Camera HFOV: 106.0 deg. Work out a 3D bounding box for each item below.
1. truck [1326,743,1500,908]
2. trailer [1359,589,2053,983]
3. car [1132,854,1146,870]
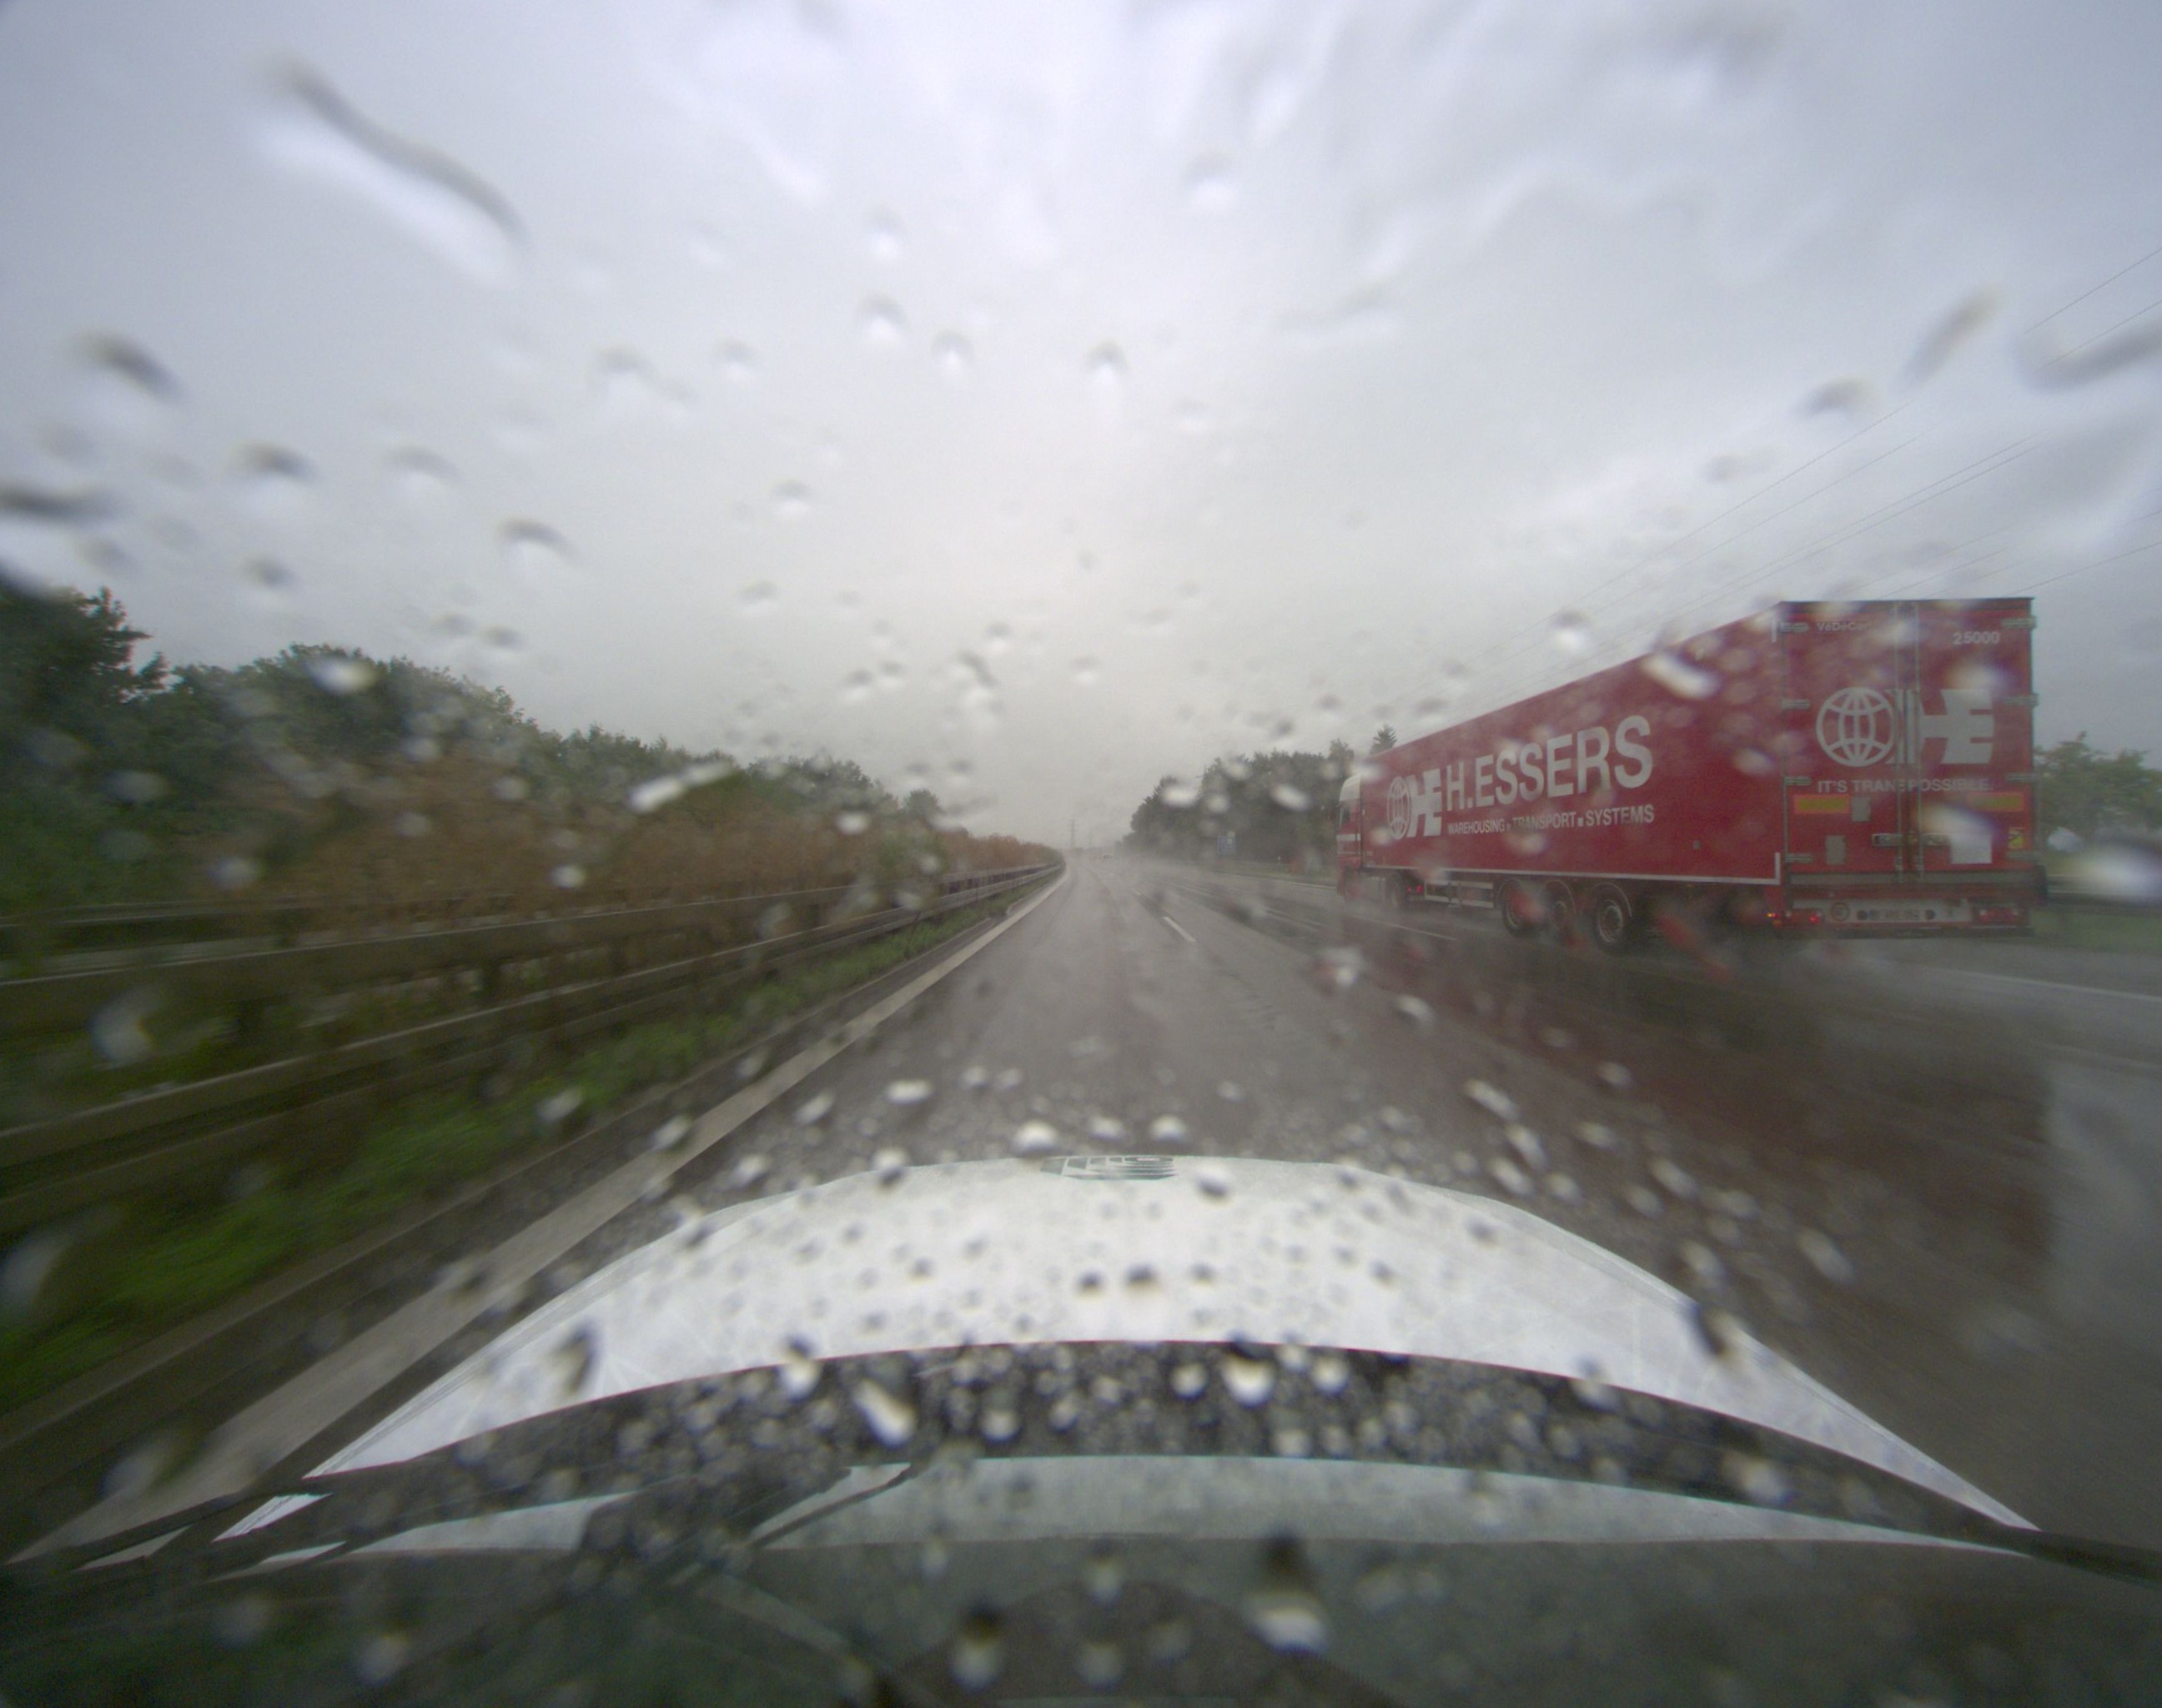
[{"bbox_3d":[8.817,-0.676,22.361,2.610,3.955,5.434,-1,0,1],"label":"truck"},{"bbox_3d":[8.643,-0.664,15.065,2.610,3.955,13.634,-1,0,1],"label":"trailer"},{"bbox_3d":[8.025,1.145,113.652,1.800,2.158,4.002,-1,0,2],"label":"car"}]
